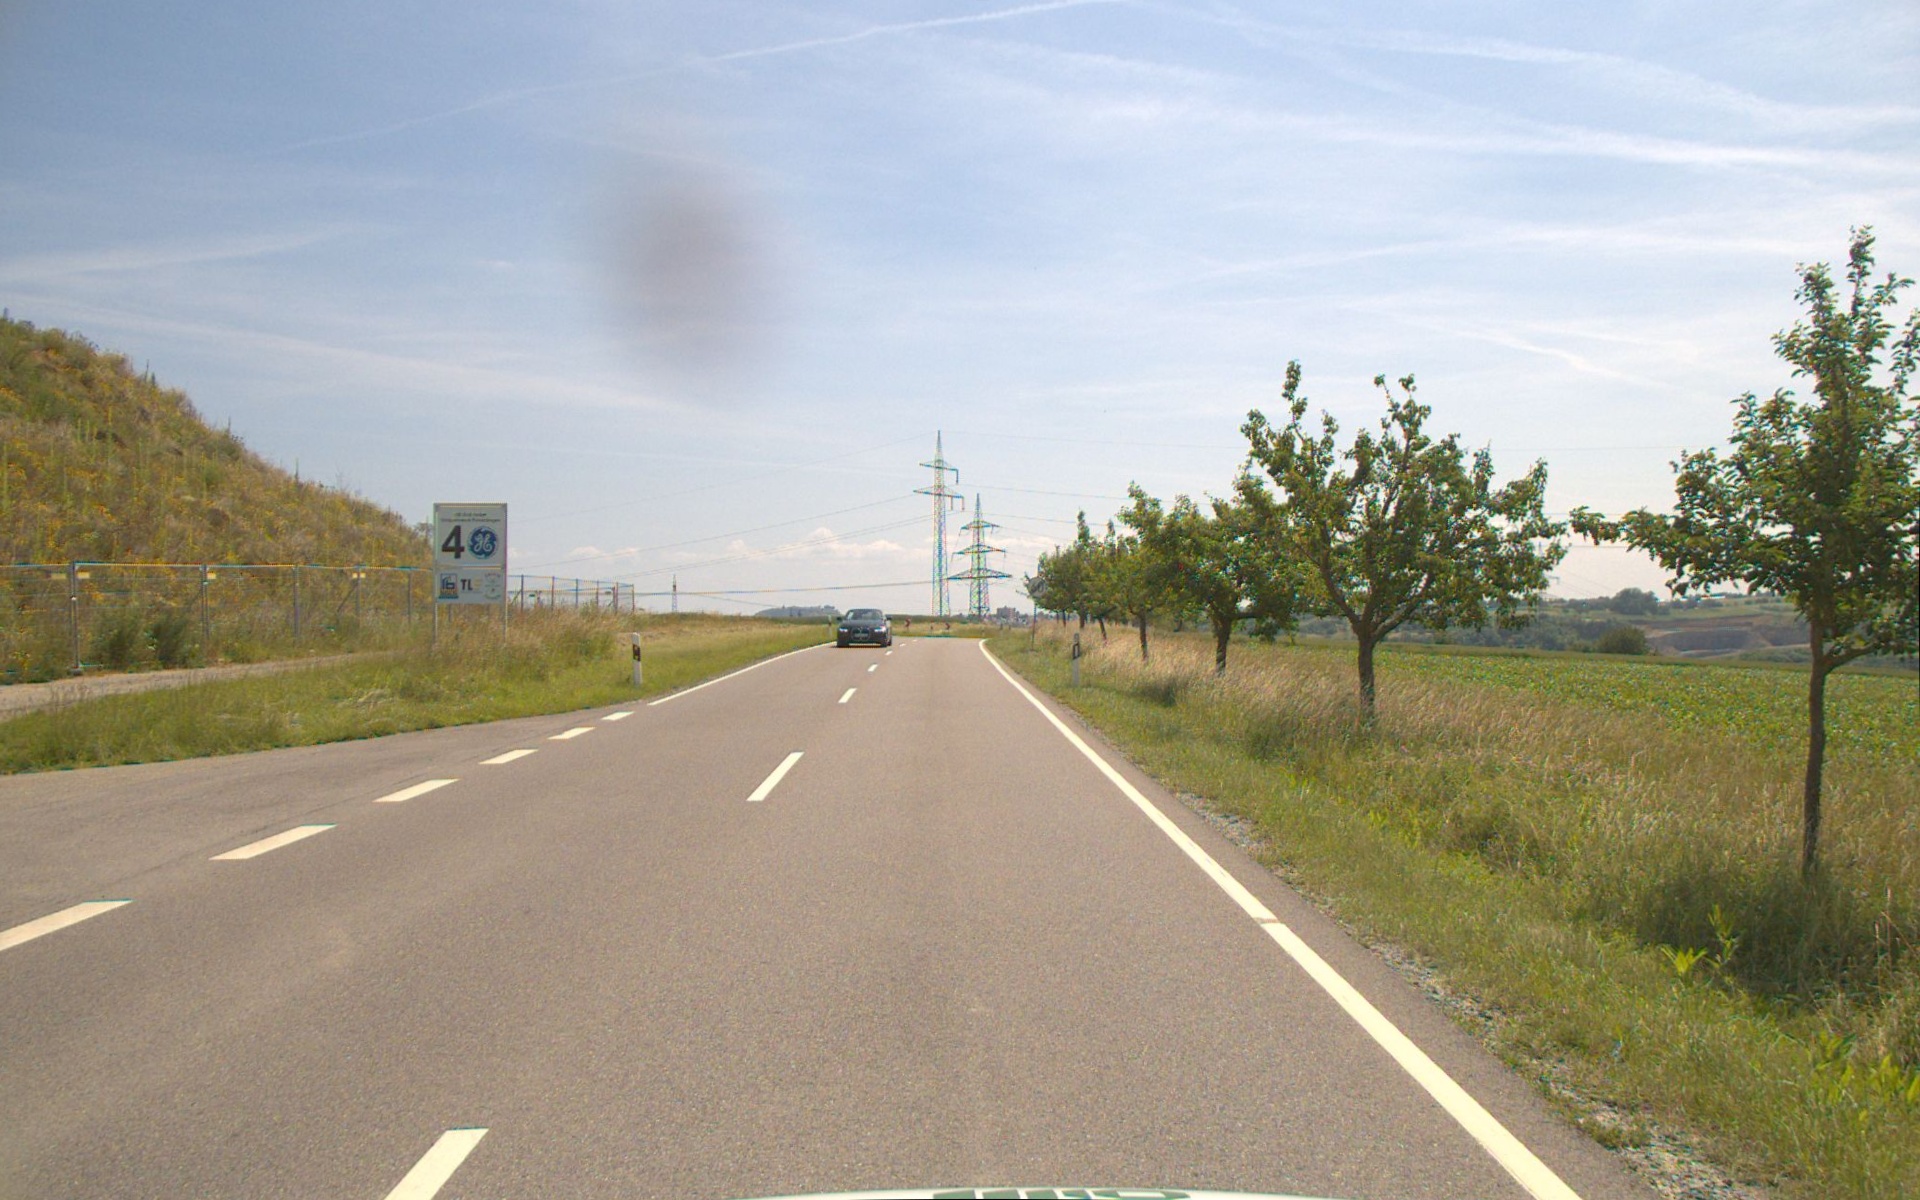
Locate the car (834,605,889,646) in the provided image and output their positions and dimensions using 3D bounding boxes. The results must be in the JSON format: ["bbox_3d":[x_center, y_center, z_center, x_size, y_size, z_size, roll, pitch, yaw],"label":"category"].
[{"bbox_3d":[-3.526,0.892,59.591,1.785,1.435,3.999,0,0,-1],"label":"car"}]
